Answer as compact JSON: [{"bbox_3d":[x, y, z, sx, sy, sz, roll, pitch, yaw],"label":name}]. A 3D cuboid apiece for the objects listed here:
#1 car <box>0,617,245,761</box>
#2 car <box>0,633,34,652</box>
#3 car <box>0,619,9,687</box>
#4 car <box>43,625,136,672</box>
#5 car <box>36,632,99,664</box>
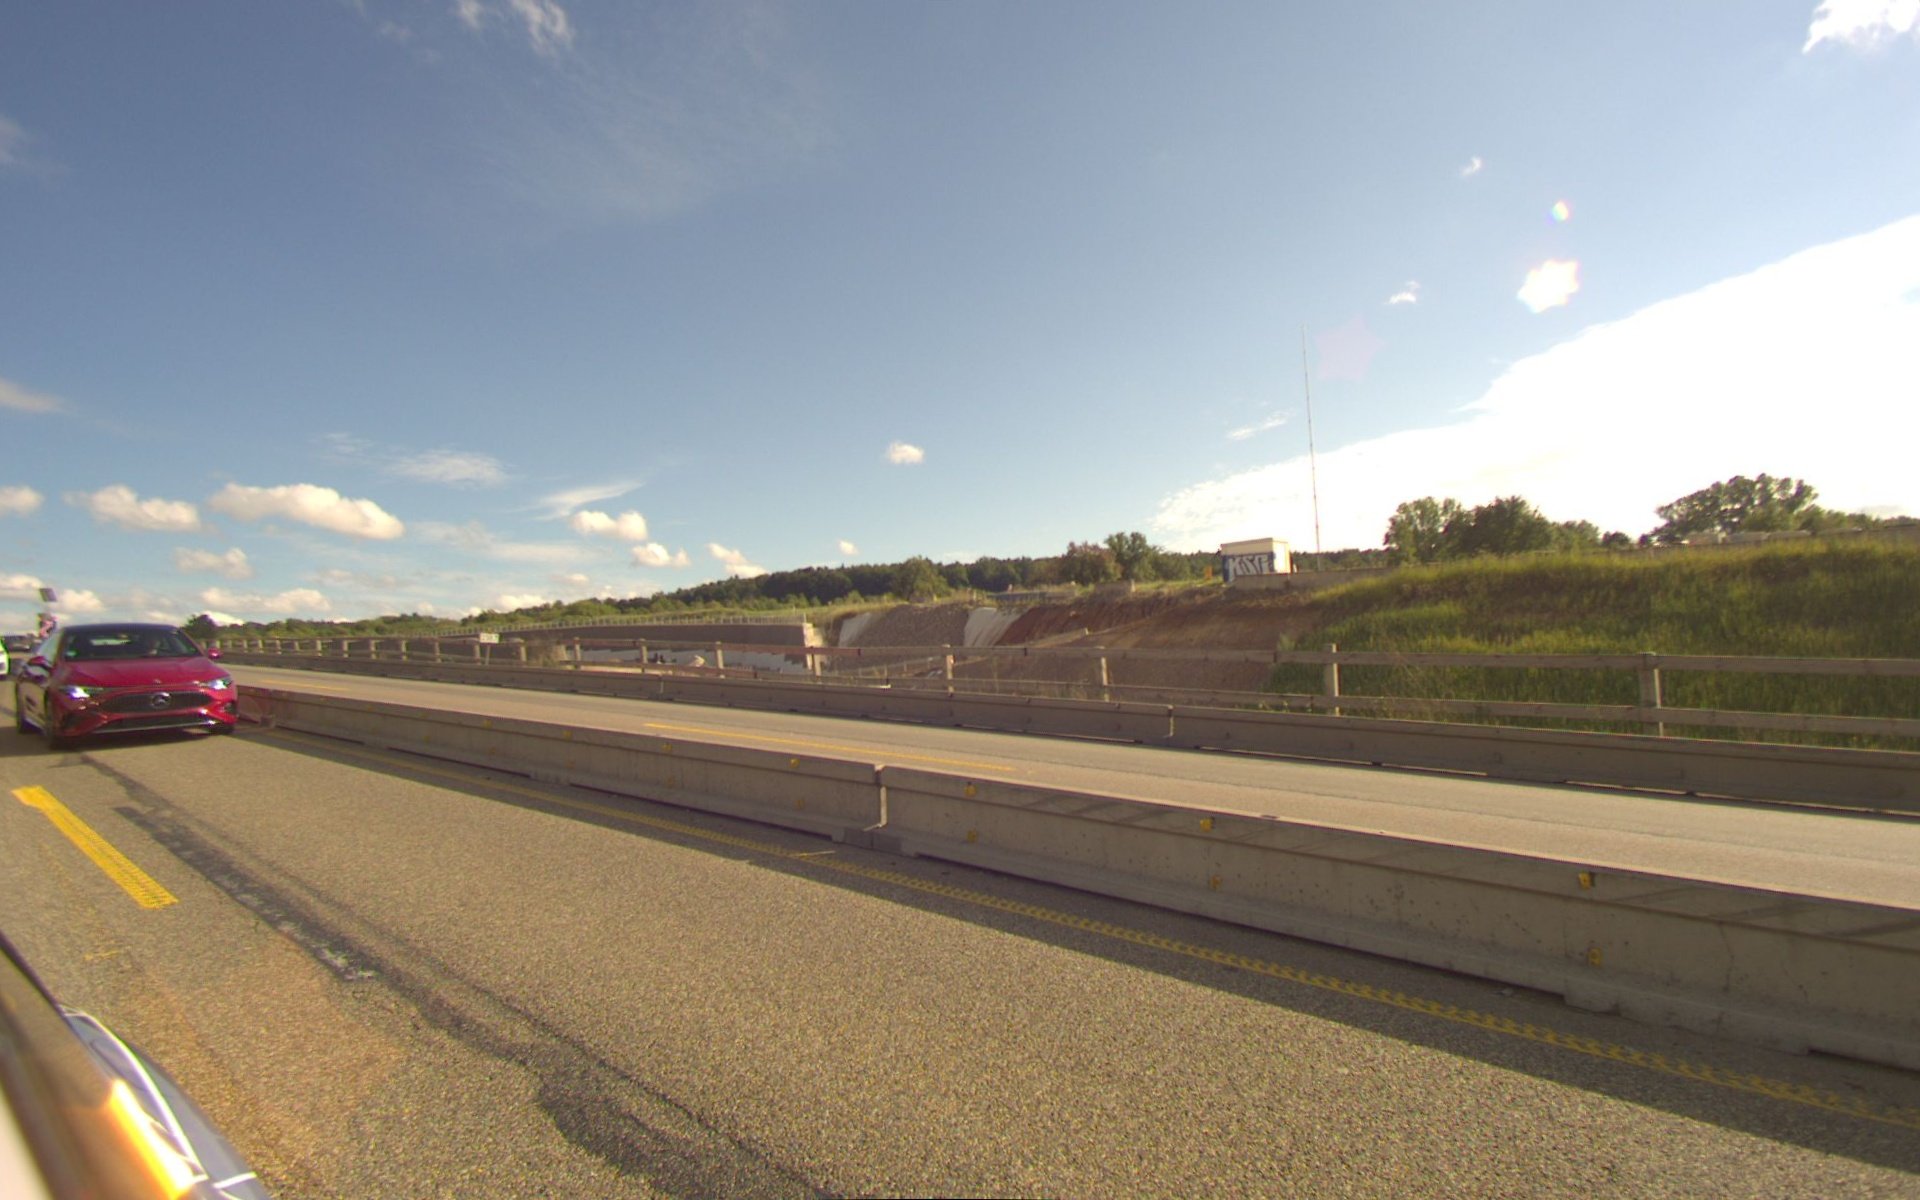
[{"bbox_3d":[-11.101,1.032,13.235,4.682,1.503,1.804,-2,0,41],"label":"car"},{"bbox_3d":[-74.071,3.316,79.361,3.999,1.503,1.803,-2,-3,42],"label":"car"},{"bbox_3d":[-27.988,1.492,28.160,4.454,1.837,1.804,-2,0,41],"label":"car"},{"bbox_3d":[-29.404,1.607,34.152,3.998,1.503,1.804,-2,-2,41],"label":"car"},{"bbox_3d":[-42.969,2.277,48.694,4.324,1.503,1.803,-2,-3,43],"label":"car"}]
